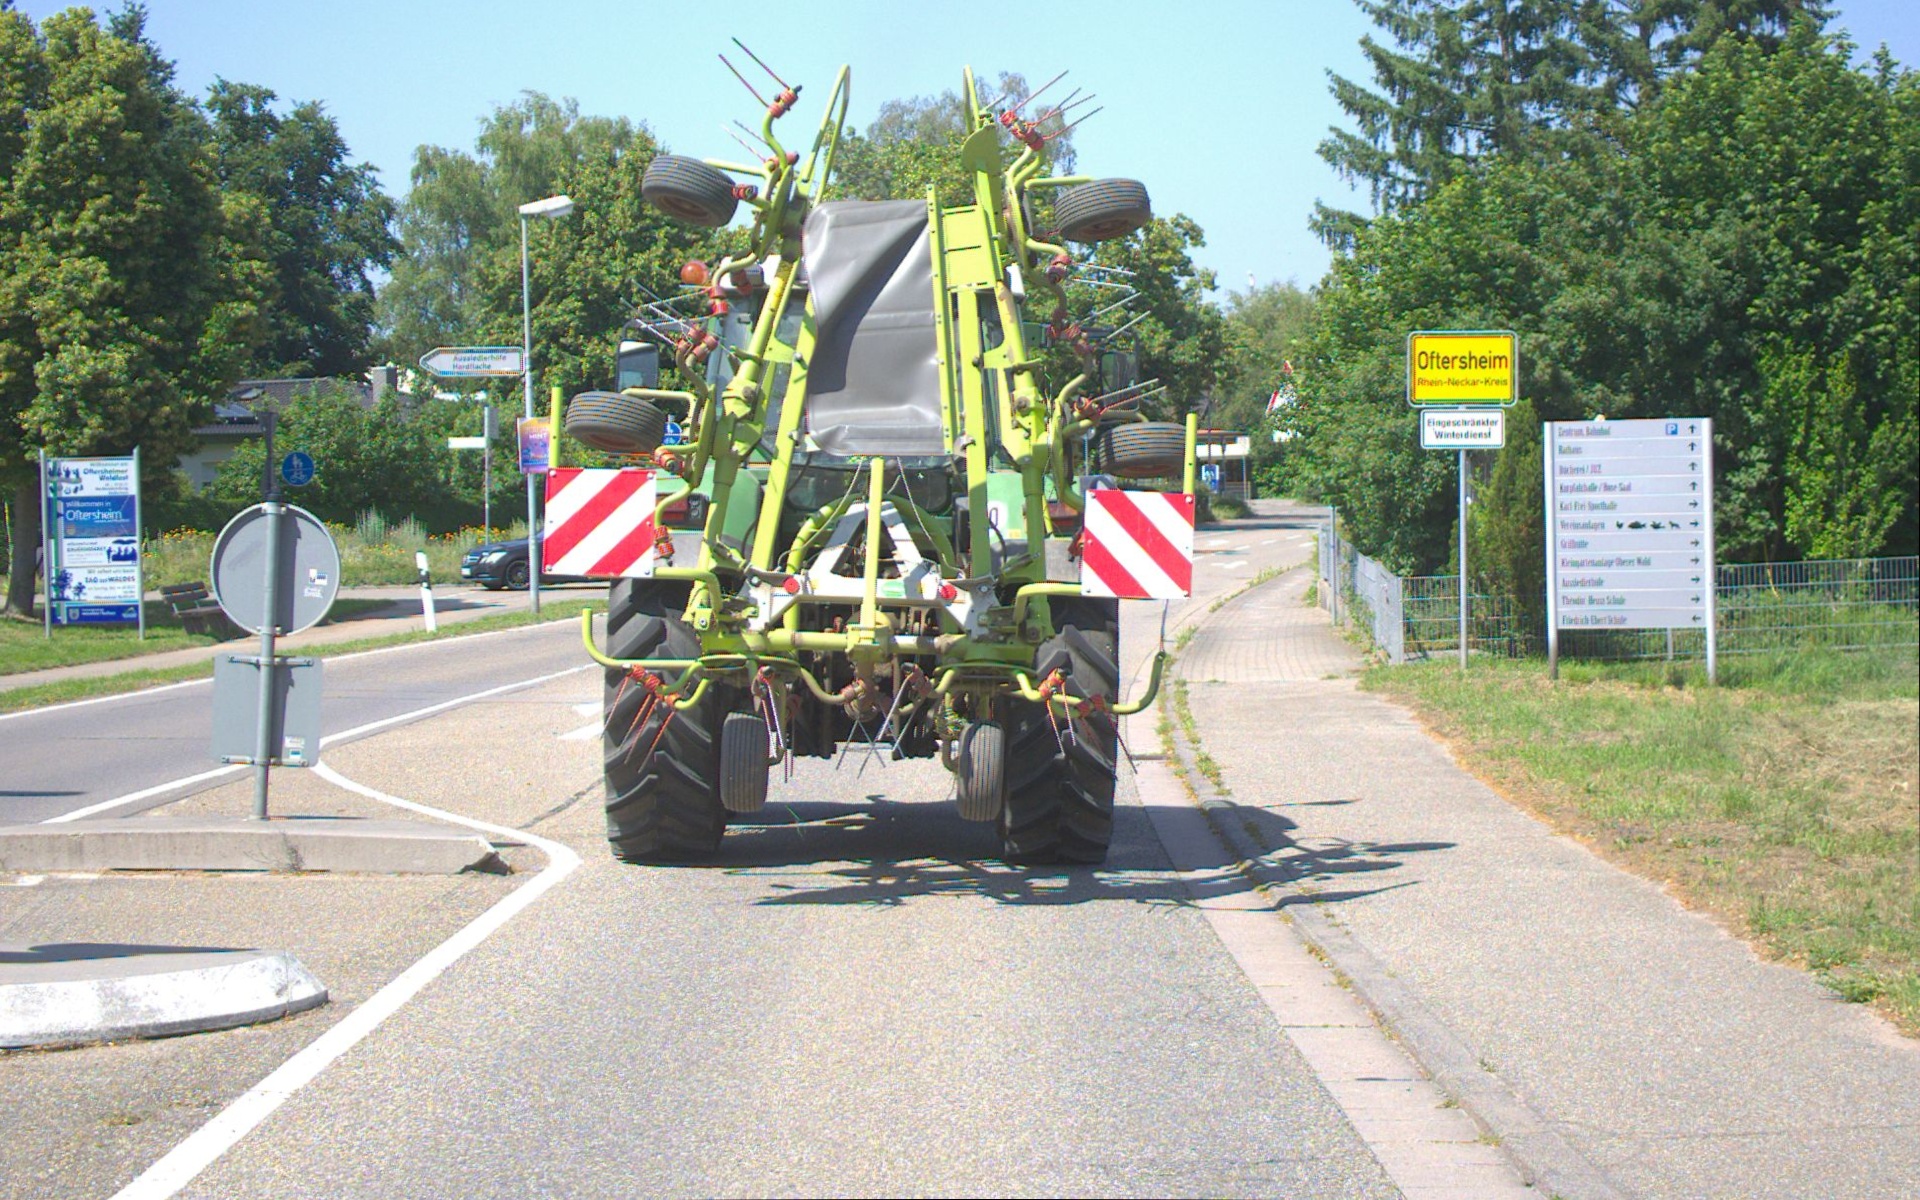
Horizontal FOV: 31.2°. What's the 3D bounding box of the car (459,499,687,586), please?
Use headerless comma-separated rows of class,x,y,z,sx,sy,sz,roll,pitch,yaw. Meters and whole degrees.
car,-7.421,-1.109,65.789,4.086,1.514,2.001,-2,1,-14

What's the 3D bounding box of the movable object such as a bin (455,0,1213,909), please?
movable object such as a bin,-0.455,-0.683,17.825,2.853,3.529,9.701,0,1,0
